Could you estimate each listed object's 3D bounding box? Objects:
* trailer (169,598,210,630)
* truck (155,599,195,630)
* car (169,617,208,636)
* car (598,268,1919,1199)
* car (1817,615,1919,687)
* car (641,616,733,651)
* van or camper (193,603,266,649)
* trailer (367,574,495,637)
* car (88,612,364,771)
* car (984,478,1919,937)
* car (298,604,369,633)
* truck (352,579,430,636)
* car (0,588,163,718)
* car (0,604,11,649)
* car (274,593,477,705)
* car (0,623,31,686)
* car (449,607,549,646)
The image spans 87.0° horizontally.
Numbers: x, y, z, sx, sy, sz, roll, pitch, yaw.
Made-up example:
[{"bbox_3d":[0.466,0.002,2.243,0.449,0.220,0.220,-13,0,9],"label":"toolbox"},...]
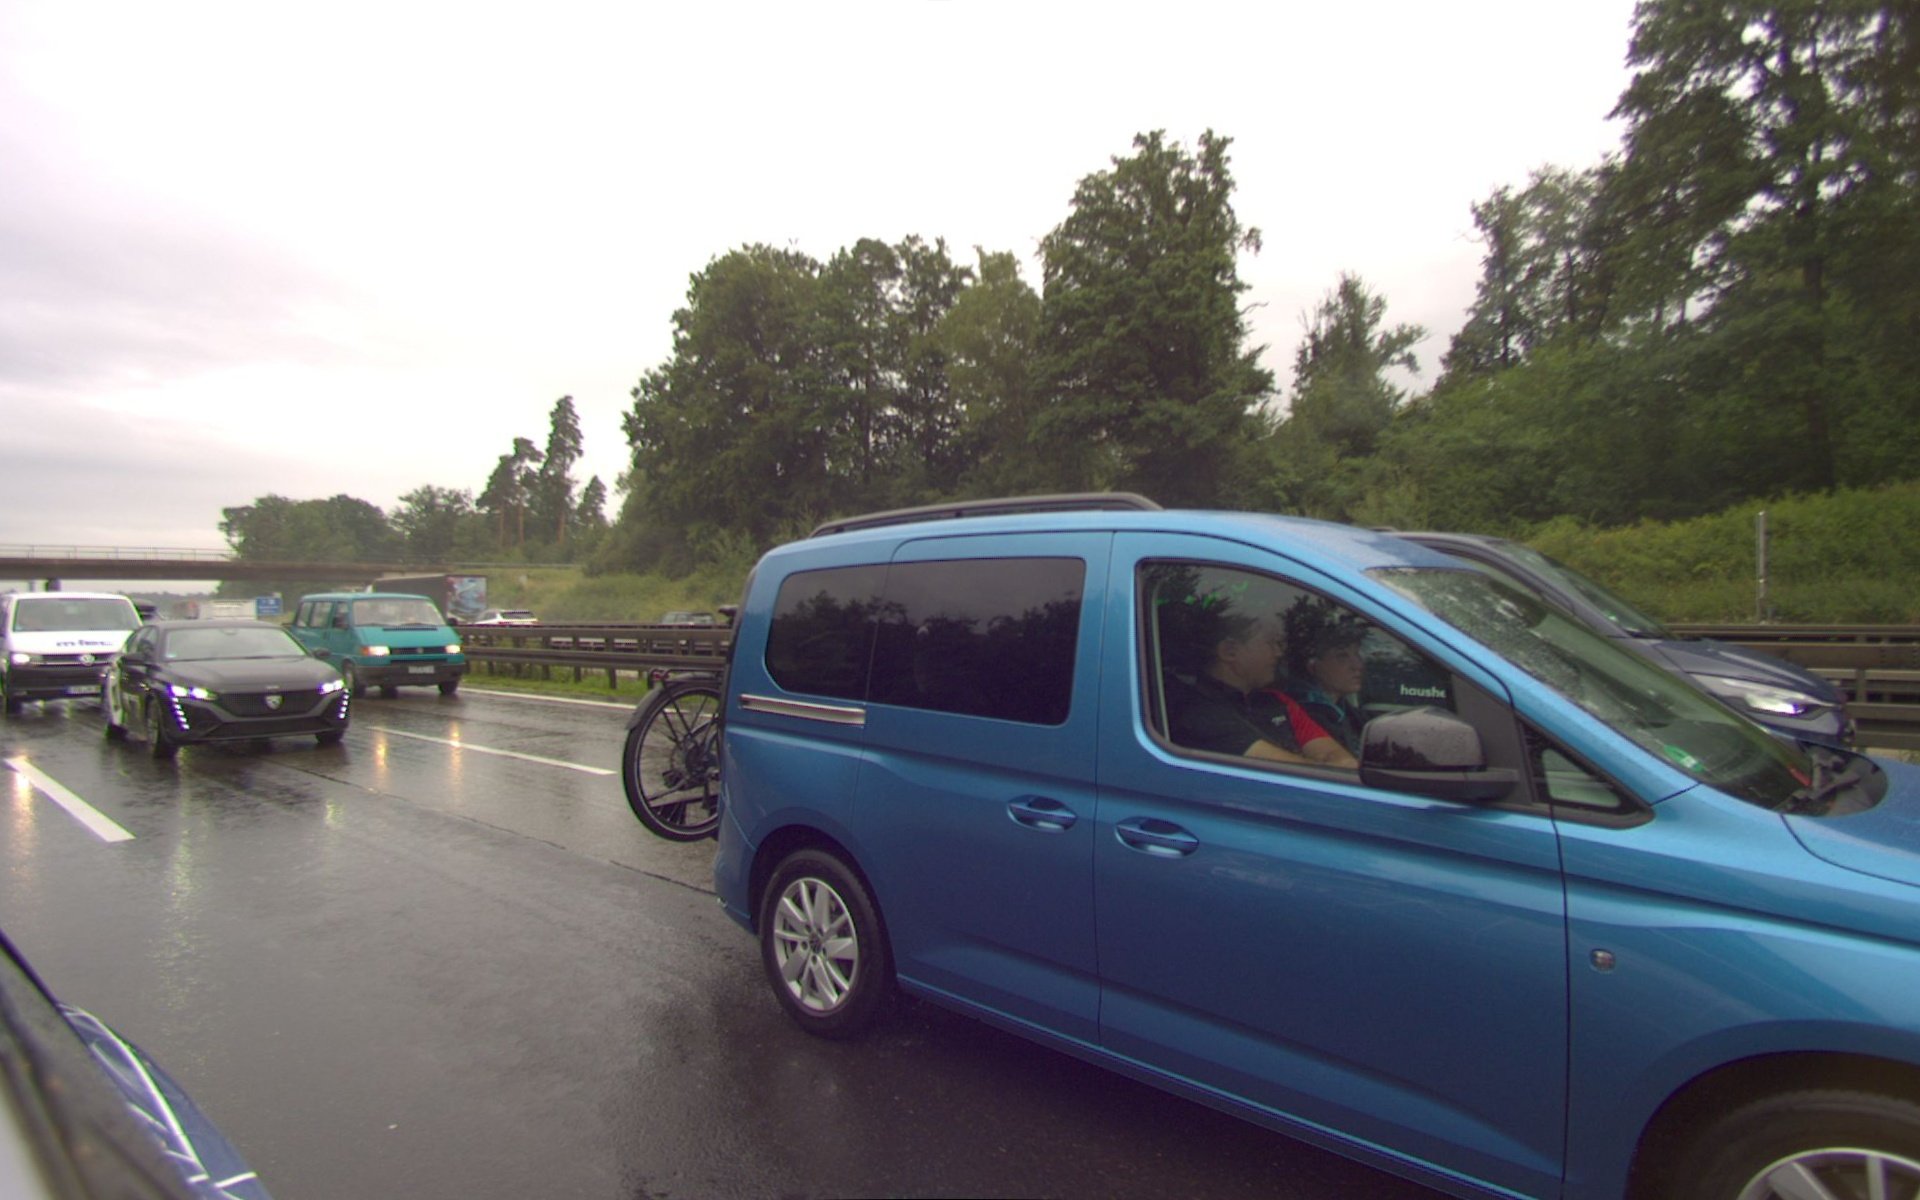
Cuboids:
[{"bbox_3d":[-98.230,1.812,129.011,9.006,3.847,2.653,-1,-1,43],"label":"trailer"},{"bbox_3d":[-104.855,1.982,135.142,10.026,3.961,2.675,-1,-1,43],"label":"truck"},{"bbox_3d":[-65.691,2.242,86.169,4.330,1.509,1.816,-2,-1,42],"label":"car"},{"bbox_3d":[1.065,0.490,3.411,5.015,1.926,2.245,-2,-1,43],"label":"car"},{"bbox_3d":[19.071,0.965,19.368,3.996,1.355,1.784,-1,-1,39],"label":"car"},{"bbox_3d":[-10.807,1.309,39.948,3.755,1.314,1.683,-2,-1,41],"label":"car"},{"bbox_3d":[-41.581,1.461,57.554,5.699,2.441,2.204,-1,-1,42],"label":"van or camper"},{"bbox_3d":[-35.664,0.457,67.842,13.554,3.847,2.993,-1,-1,42],"label":"trailer"},{"bbox_3d":[-8.744,0.925,11.897,4.467,1.516,1.825,-1,-2,43],"label":"car"},{"bbox_3d":[2.810,0.486,6.726,5.239,1.958,1.971,-1,0,41],"label":"car"},{"bbox_3d":[-34.926,1.060,56.373,4.702,1.519,1.974,-2,-2,39],"label":"car"},{"bbox_3d":[-40.727,0.561,72.344,6.262,3.847,2.988,-1,-1,42],"label":"truck"},{"bbox_3d":[-15.146,0.821,17.111,4.767,1.894,1.968,-2,-1,43],"label":"car"},{"bbox_3d":[-35.931,0.992,36.644,4.767,1.572,1.968,-2,-1,43],"label":"car"},{"bbox_3d":[-11.205,0.847,19.259,4.756,1.877,1.891,-1,0,41],"label":"car"},{"bbox_3d":[-25.324,1.375,26.017,4.467,1.516,1.825,-1,-1,43],"label":"car"},{"bbox_3d":[-19.105,1.104,41.852,4.704,1.519,1.973,-2,-2,41],"label":"car"}]
